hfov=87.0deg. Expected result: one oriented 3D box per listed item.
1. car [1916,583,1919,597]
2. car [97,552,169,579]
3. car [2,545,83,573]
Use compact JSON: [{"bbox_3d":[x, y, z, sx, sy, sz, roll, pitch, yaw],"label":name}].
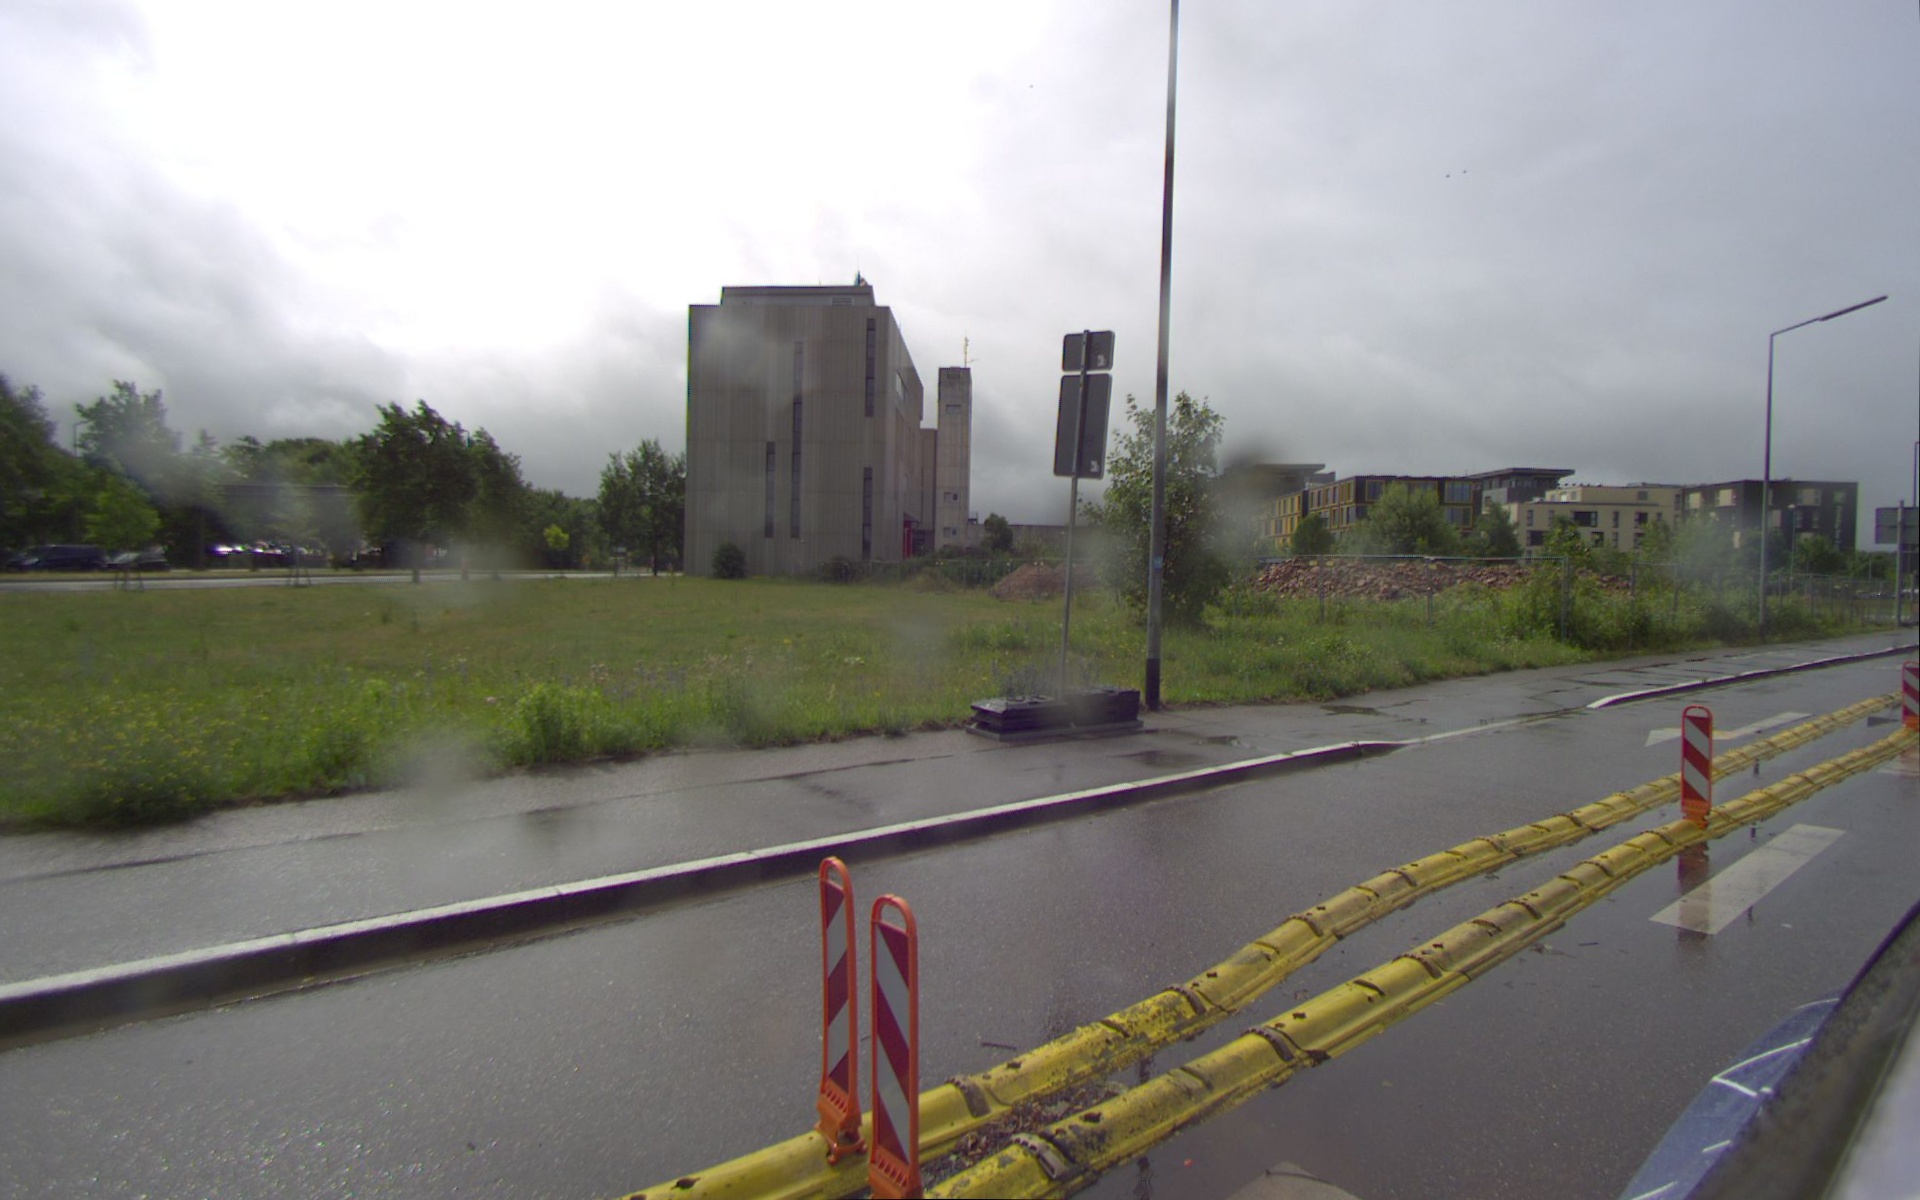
[{"bbox_3d":[145.278,-1.498,150.522,3.931,2.039,1.997,1,1,7],"label":"car"},{"bbox_3d":[-51.572,-2.142,63.207,1.515,1.578,3.521,1,2,4],"label":"car"},{"bbox_3d":[-53.927,-2.374,59.556,1.515,1.578,3.521,1,2,4],"label":"car"}]
